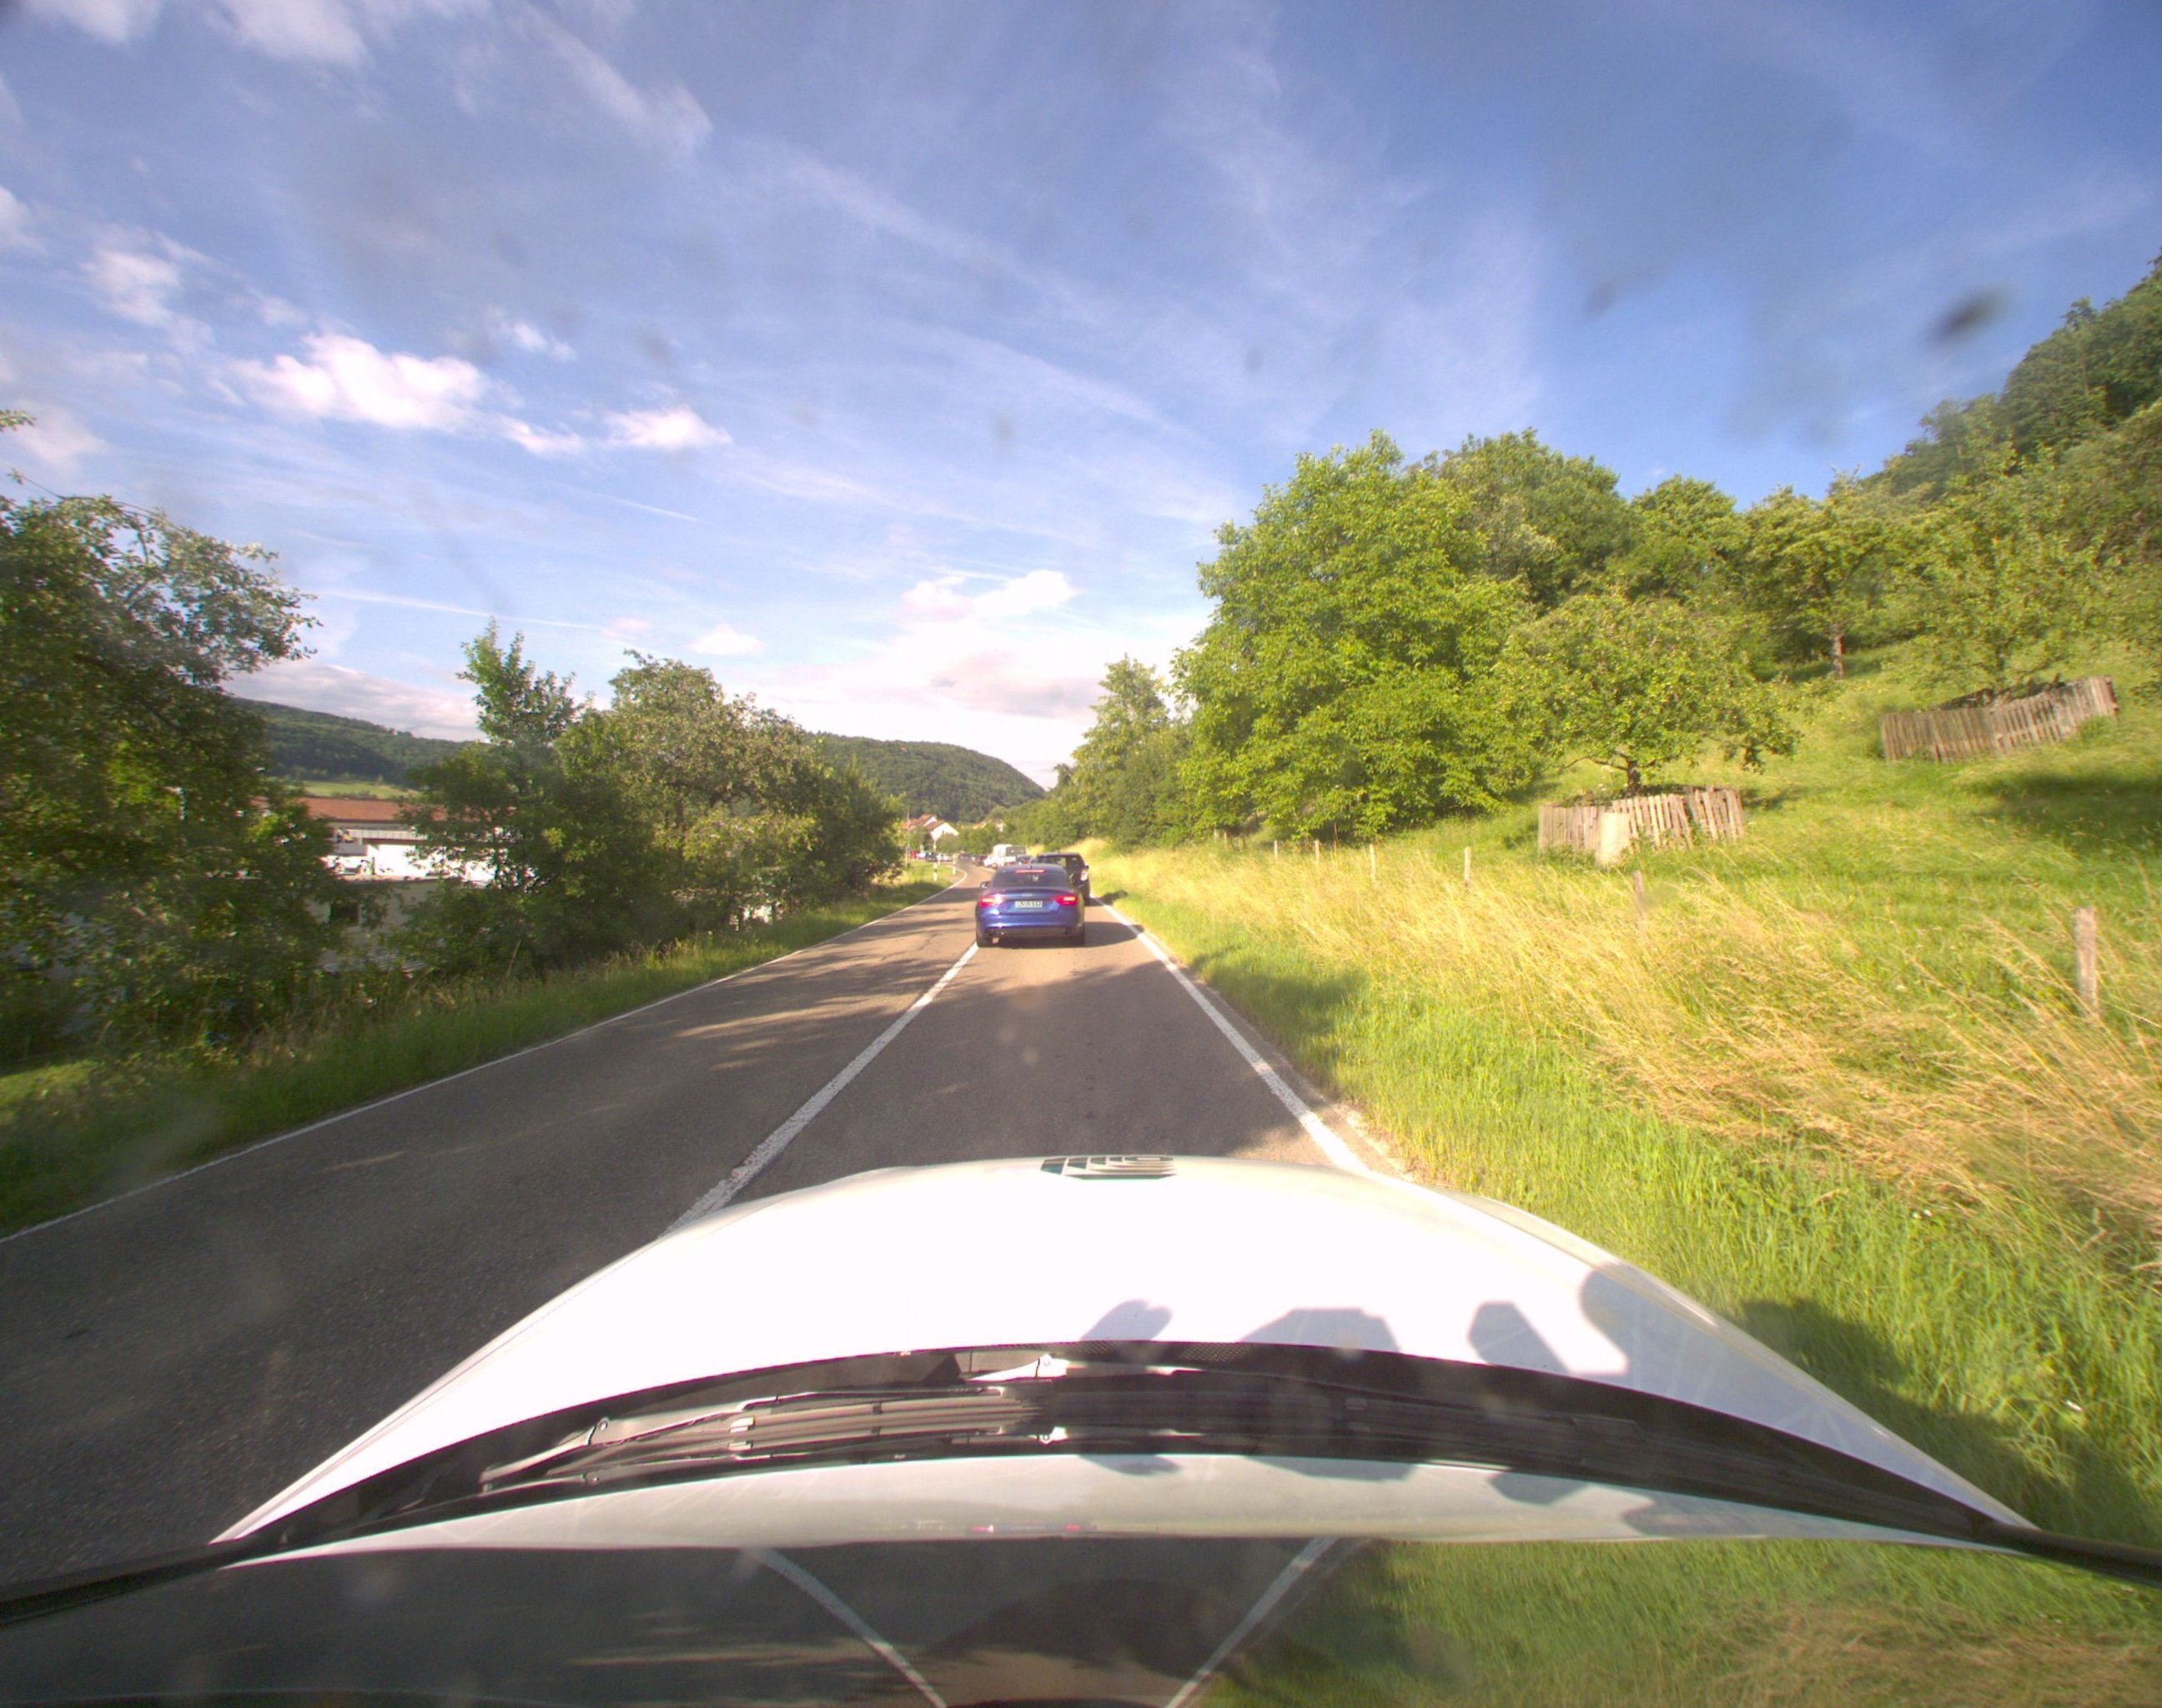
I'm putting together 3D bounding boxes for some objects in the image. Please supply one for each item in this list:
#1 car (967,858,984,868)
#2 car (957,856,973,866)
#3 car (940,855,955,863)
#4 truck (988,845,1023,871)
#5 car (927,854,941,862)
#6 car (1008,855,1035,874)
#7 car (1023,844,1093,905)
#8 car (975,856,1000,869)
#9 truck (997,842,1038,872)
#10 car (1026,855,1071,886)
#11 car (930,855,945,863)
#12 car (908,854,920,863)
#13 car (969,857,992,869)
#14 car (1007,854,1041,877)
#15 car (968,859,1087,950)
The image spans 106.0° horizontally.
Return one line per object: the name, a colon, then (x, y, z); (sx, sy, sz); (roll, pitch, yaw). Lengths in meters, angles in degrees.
car: (-15.768, 1.335, 121.623); (1.998, 1.482, 3.978); (0, -1, -16)
car: (-18.886, 1.116, 132.503); (1.998, 1.482, 3.978); (0, -1, -16)
car: (-24.589, 0.917, 149.869); (2.002, 1.482, 3.970); (0, -1, -22)
truck: (-8.445, 0.395, 89.525); (2.865, 2.665, 10.605); (0, 0, -11)
car: (-26.608, 0.716, 146.891); (1.999, 1.376, 3.976); (0, -1, -18)
car: (-4.889, 0.814, 66.512); (1.992, 1.482, 3.990); (-1, -1, -7)
car: (-0.641, 0.602, 25.304); (1.987, 1.702, 3.999); (-1, -1, 0)
car: (-11.163, 1.038, 97.150); (2.000, 1.482, 3.972); (0, -1, -20)
truck: (-6.225, 0.299, 78.204); (2.865, 2.665, 10.354); (0, 0, -11)
car: (-1.526, 0.788, 39.541); (1.987, 1.387, 3.999); (-1, -1, 0)
car: (-27.667, 1.003, 157.170); (2.002, 1.482, 3.970); (0, -1, -22)
car: (-38.661, 1.013, 188.370); (2.001, 2.014, 3.971); (0, -1, -21)
car: (-12.929, 1.115, 104.607); (2.000, 1.482, 3.972); (0, -1, -20)
car: (-3.971, 0.787, 56.282); (1.993, 1.482, 3.988); (-1, -1, -9)
car: (-0.822, 0.800, 14.716); (1.787, 1.360, 4.000); (-1, 0, 1)
